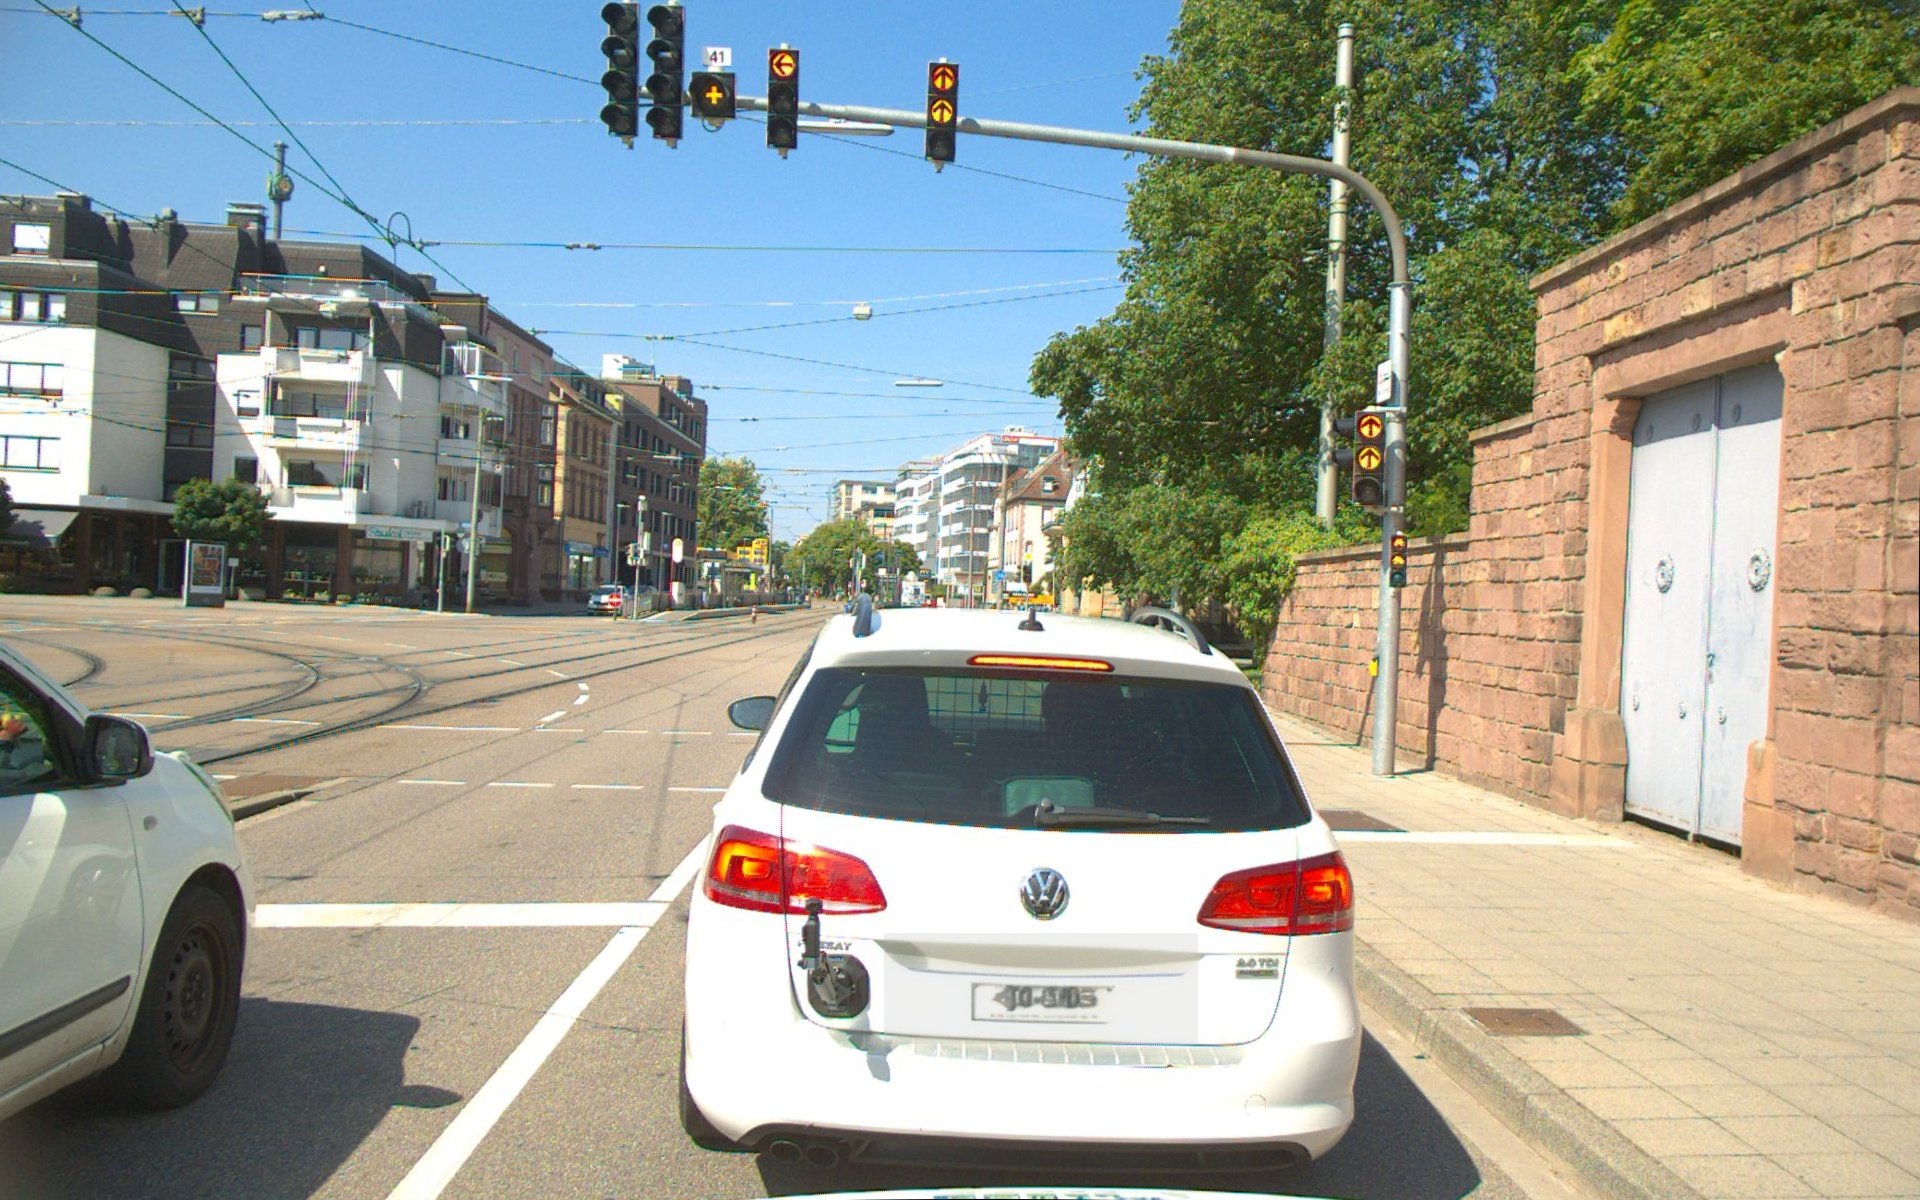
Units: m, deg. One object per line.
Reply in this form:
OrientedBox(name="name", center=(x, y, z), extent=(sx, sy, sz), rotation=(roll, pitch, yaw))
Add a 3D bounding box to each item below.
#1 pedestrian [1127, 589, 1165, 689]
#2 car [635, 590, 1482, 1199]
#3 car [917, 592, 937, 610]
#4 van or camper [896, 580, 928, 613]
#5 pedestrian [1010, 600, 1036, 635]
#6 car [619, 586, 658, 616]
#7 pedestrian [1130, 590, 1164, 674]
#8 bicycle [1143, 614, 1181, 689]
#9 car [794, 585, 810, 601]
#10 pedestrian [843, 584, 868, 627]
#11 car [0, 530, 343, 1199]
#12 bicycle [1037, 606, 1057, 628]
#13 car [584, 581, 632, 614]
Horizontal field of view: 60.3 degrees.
OrientedBox(name="pedestrian", center=(2.958, 0.608, 26.348), extent=(0.529, 1.576, 0.663), rotation=(0, 0, -2))
OrientedBox(name="car", center=(0.182, 0.731, 5.361), extent=(1.717, 1.442, 3.852), rotation=(2, 0, -1))
OrientedBox(name="car", center=(-3.811, 0.079, 192.352), extent=(1.955, 2.049, 3.995), rotation=(2, 0, -6))
OrientedBox(name="van or camper", center=(-4.954, -0.387, 169.640), extent=(2.886, 3.235, 6.608), rotation=(2, 0, -4))
OrientedBox(name="pedestrian", center=(2.825, 0.790, 74.273), extent=(0.842, 1.536, 0.778), rotation=(2, 0, 37))
OrientedBox(name="car", center=(-17.060, 0.037, 87.856), extent=(1.542, 1.484, 3.811), rotation=(2, 0, -4))
OrientedBox(name="pedestrian", center=(3.906, 0.662, 34.654), extent=(0.636, 1.711, 0.708), rotation=(2, 0, 5))
OrientedBox(name="bicycle", center=(3.206, 0.800, 26.215), extent=(0.524, 1.131, 1.808), rotation=(1, -1, 8))
OrientedBox(name="car", center=(-21.271, -0.980, 222.711), extent=(1.954, 2.049, 3.998), rotation=(1, 0, -3))
OrientedBox(name="pedestrian", center=(-4.604, 0.233, 72.808), extent=(0.817, 1.841, 0.826), rotation=(2, 0, -27))
OrientedBox(name="car", center=(-2.895, 0.630, 3.431), extent=(1.730, 1.588, 4.066), rotation=(1, 0, -1))
OrientedBox(name="bicycle", center=(4.751, 0.945, 90.343), extent=(0.710, 1.159, 2.196), rotation=(2, 0, 11))
OrientedBox(name="car", center=(-17.025, -0.106, 80.103), extent=(1.593, 1.456, 3.961), rotation=(4, 0, -3))
